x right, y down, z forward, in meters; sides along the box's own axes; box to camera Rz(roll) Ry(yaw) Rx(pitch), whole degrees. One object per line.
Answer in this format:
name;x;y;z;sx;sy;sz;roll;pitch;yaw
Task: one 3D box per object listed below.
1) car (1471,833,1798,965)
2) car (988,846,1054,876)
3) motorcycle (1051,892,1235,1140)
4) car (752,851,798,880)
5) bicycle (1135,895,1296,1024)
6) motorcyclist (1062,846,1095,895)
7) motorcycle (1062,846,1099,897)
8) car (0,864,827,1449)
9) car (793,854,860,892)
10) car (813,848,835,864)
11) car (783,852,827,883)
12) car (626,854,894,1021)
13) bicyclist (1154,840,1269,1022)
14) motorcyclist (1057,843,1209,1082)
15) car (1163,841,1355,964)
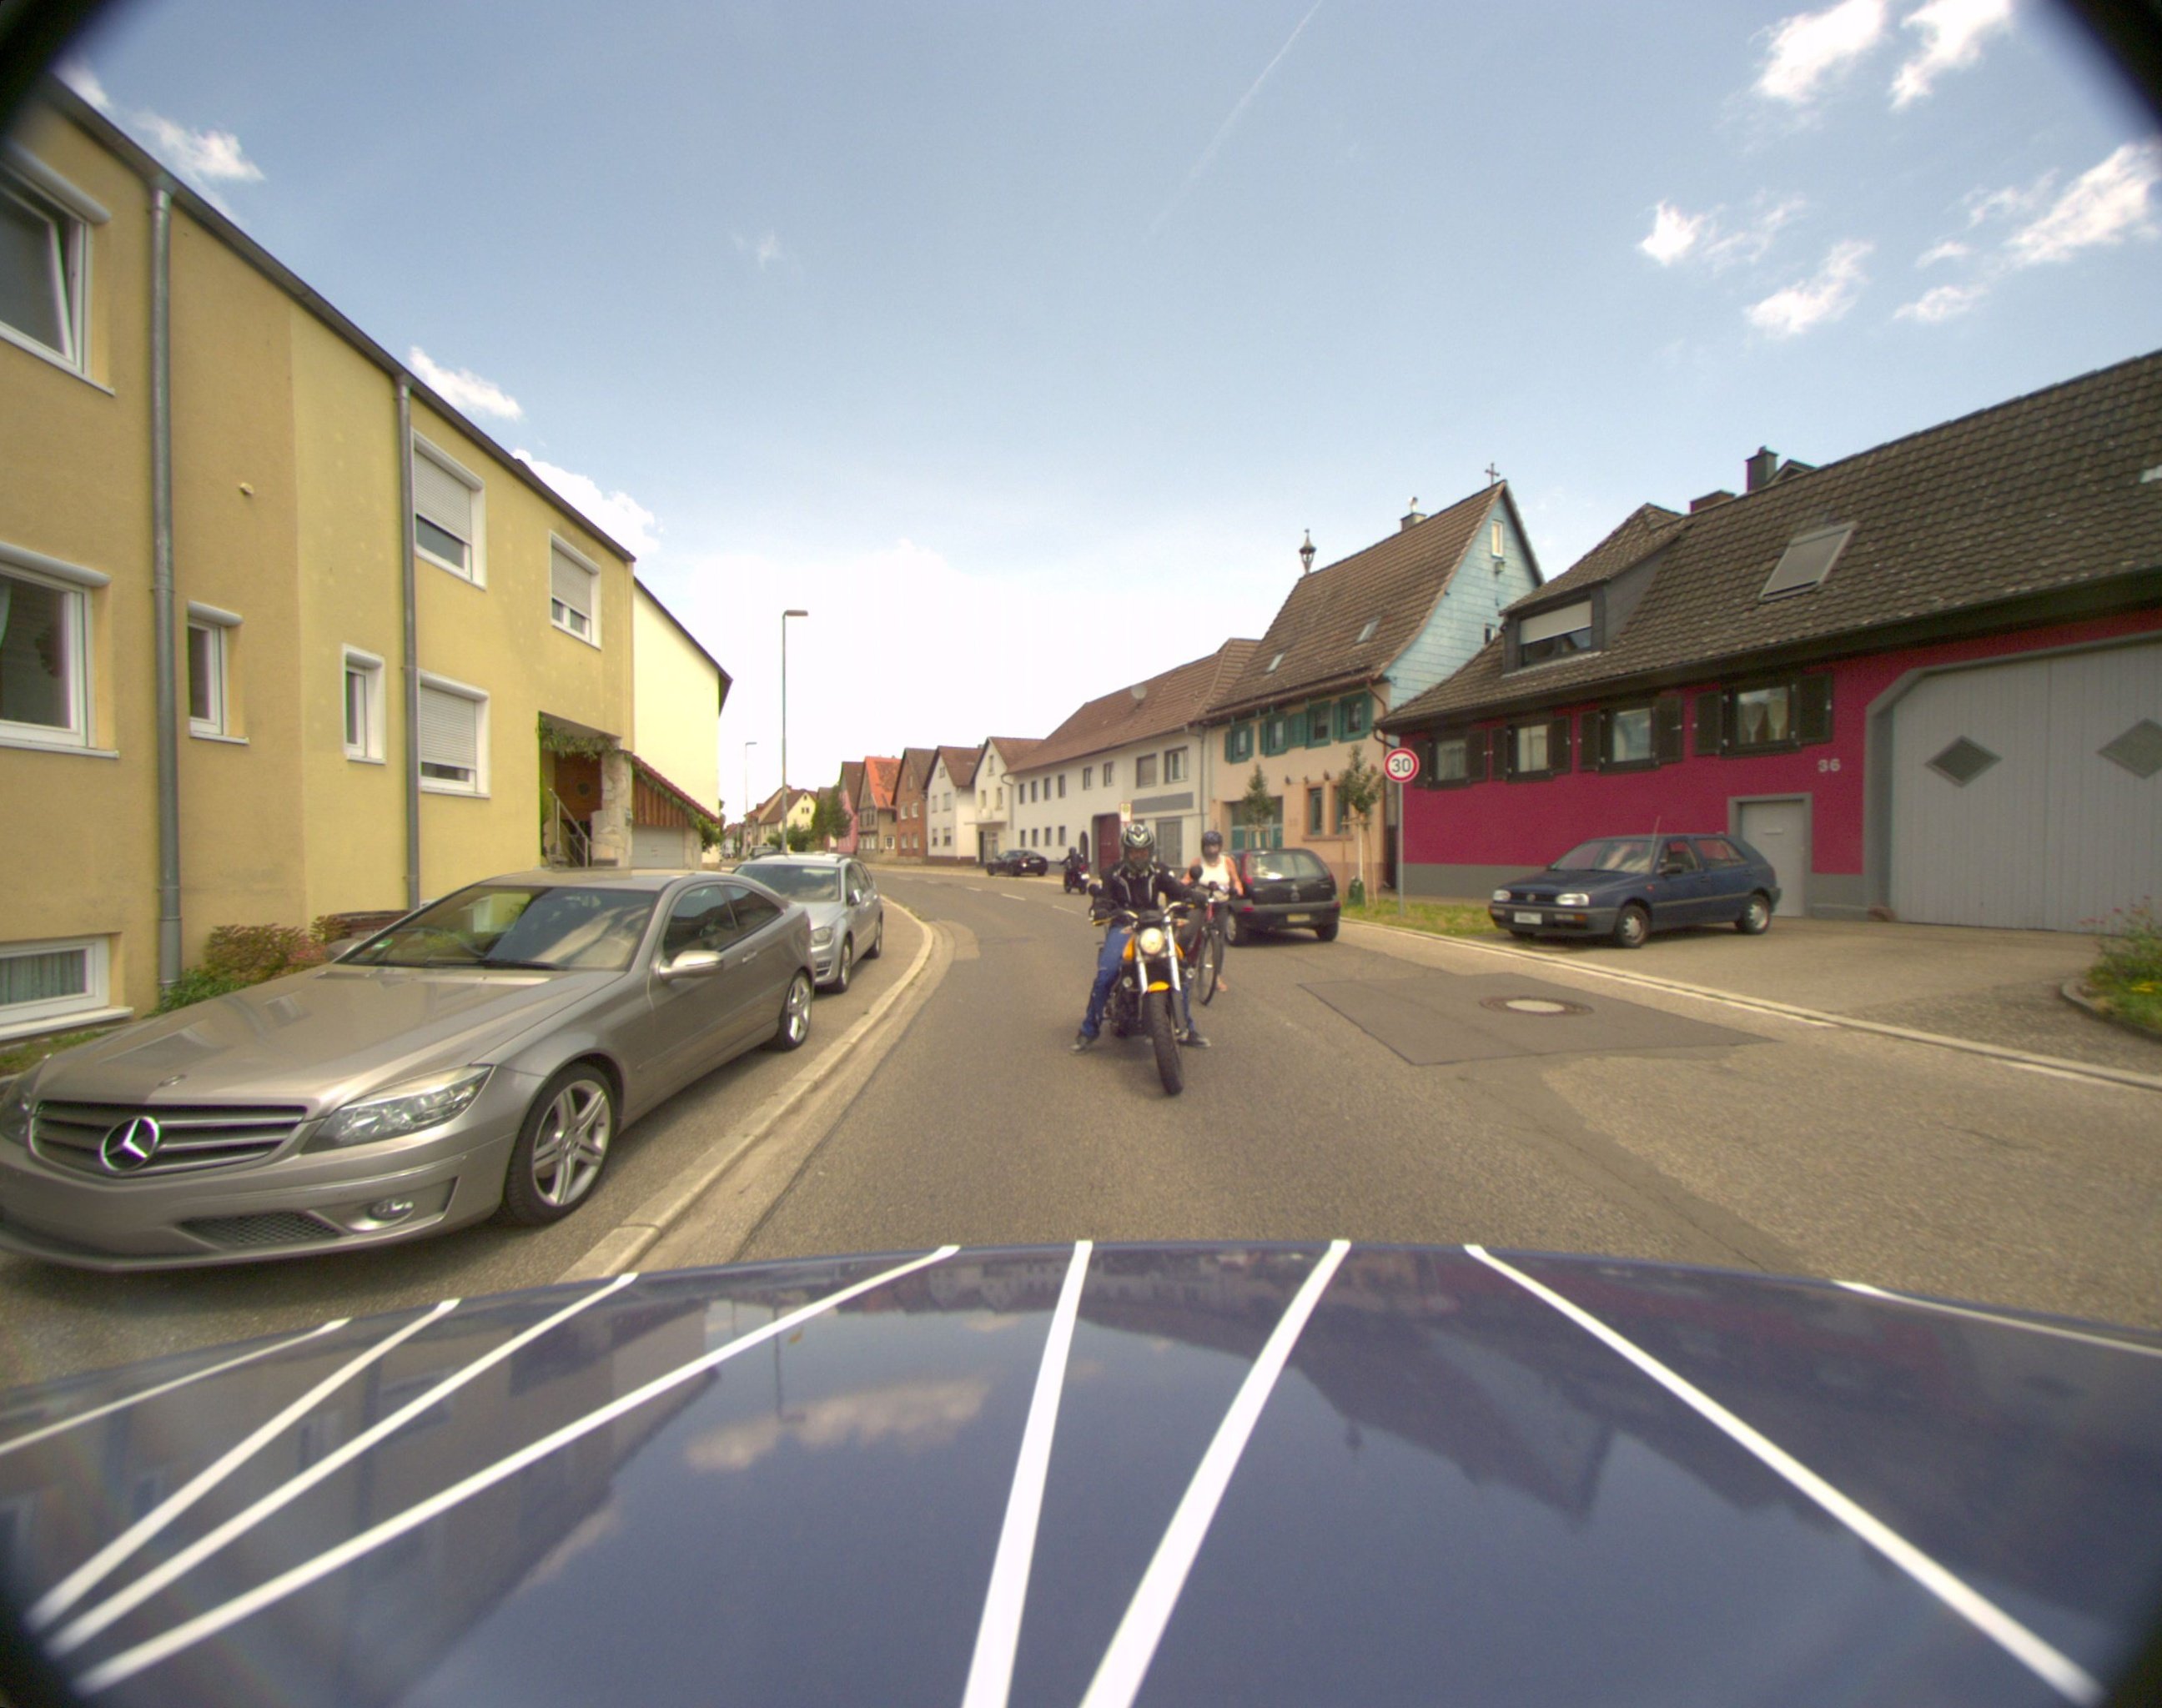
car;7.590;0.509;10.444;3.983;1.456;1.718;-2;2;-20
car;-3.215;0.371;39.628;1.812;1.412;4.541;-2;1;-26
motorcycle;0.358;0.969;5.339;0.985;1.234;2.103;-3;1;0
car;-19.303;0.687;47.824;1.669;1.638;3.989;-3;2;-36
bicycle;1.270;0.978;7.678;0.934;1.005;1.922;-2;0;-11
motorcyclist;-0.088;0.524;24.465;0.899;1.546;0.806;-1;1;-11
motorcycle;-0.034;0.546;24.293;0.883;1.552;1.966;-1;0;-8
car;-2.961;0.879;4.283;1.775;1.392;4.421;2;2;-3
car;-10.690;0.732;31.771;1.731;1.378;3.989;-1;2;-33
car;-27.979;0.186;82.706;1.687;1.521;3.490;-3;3;-27
car;-14.598;0.733;40.068;1.776;1.521;3.992;-1;-1;-25
car;-3.599;0.822;9.467;1.891;1.521;4.332;2;1;-7
bicyclist;1.283;0.721;7.583;0.910;1.679;0.760;-2;3;-11
motorcyclist;0.355;0.733;5.535;1.000;1.591;0.799;-1;3;0
car;2.636;0.612;12.176;1.505;1.531;3.851;-3;2;-11
